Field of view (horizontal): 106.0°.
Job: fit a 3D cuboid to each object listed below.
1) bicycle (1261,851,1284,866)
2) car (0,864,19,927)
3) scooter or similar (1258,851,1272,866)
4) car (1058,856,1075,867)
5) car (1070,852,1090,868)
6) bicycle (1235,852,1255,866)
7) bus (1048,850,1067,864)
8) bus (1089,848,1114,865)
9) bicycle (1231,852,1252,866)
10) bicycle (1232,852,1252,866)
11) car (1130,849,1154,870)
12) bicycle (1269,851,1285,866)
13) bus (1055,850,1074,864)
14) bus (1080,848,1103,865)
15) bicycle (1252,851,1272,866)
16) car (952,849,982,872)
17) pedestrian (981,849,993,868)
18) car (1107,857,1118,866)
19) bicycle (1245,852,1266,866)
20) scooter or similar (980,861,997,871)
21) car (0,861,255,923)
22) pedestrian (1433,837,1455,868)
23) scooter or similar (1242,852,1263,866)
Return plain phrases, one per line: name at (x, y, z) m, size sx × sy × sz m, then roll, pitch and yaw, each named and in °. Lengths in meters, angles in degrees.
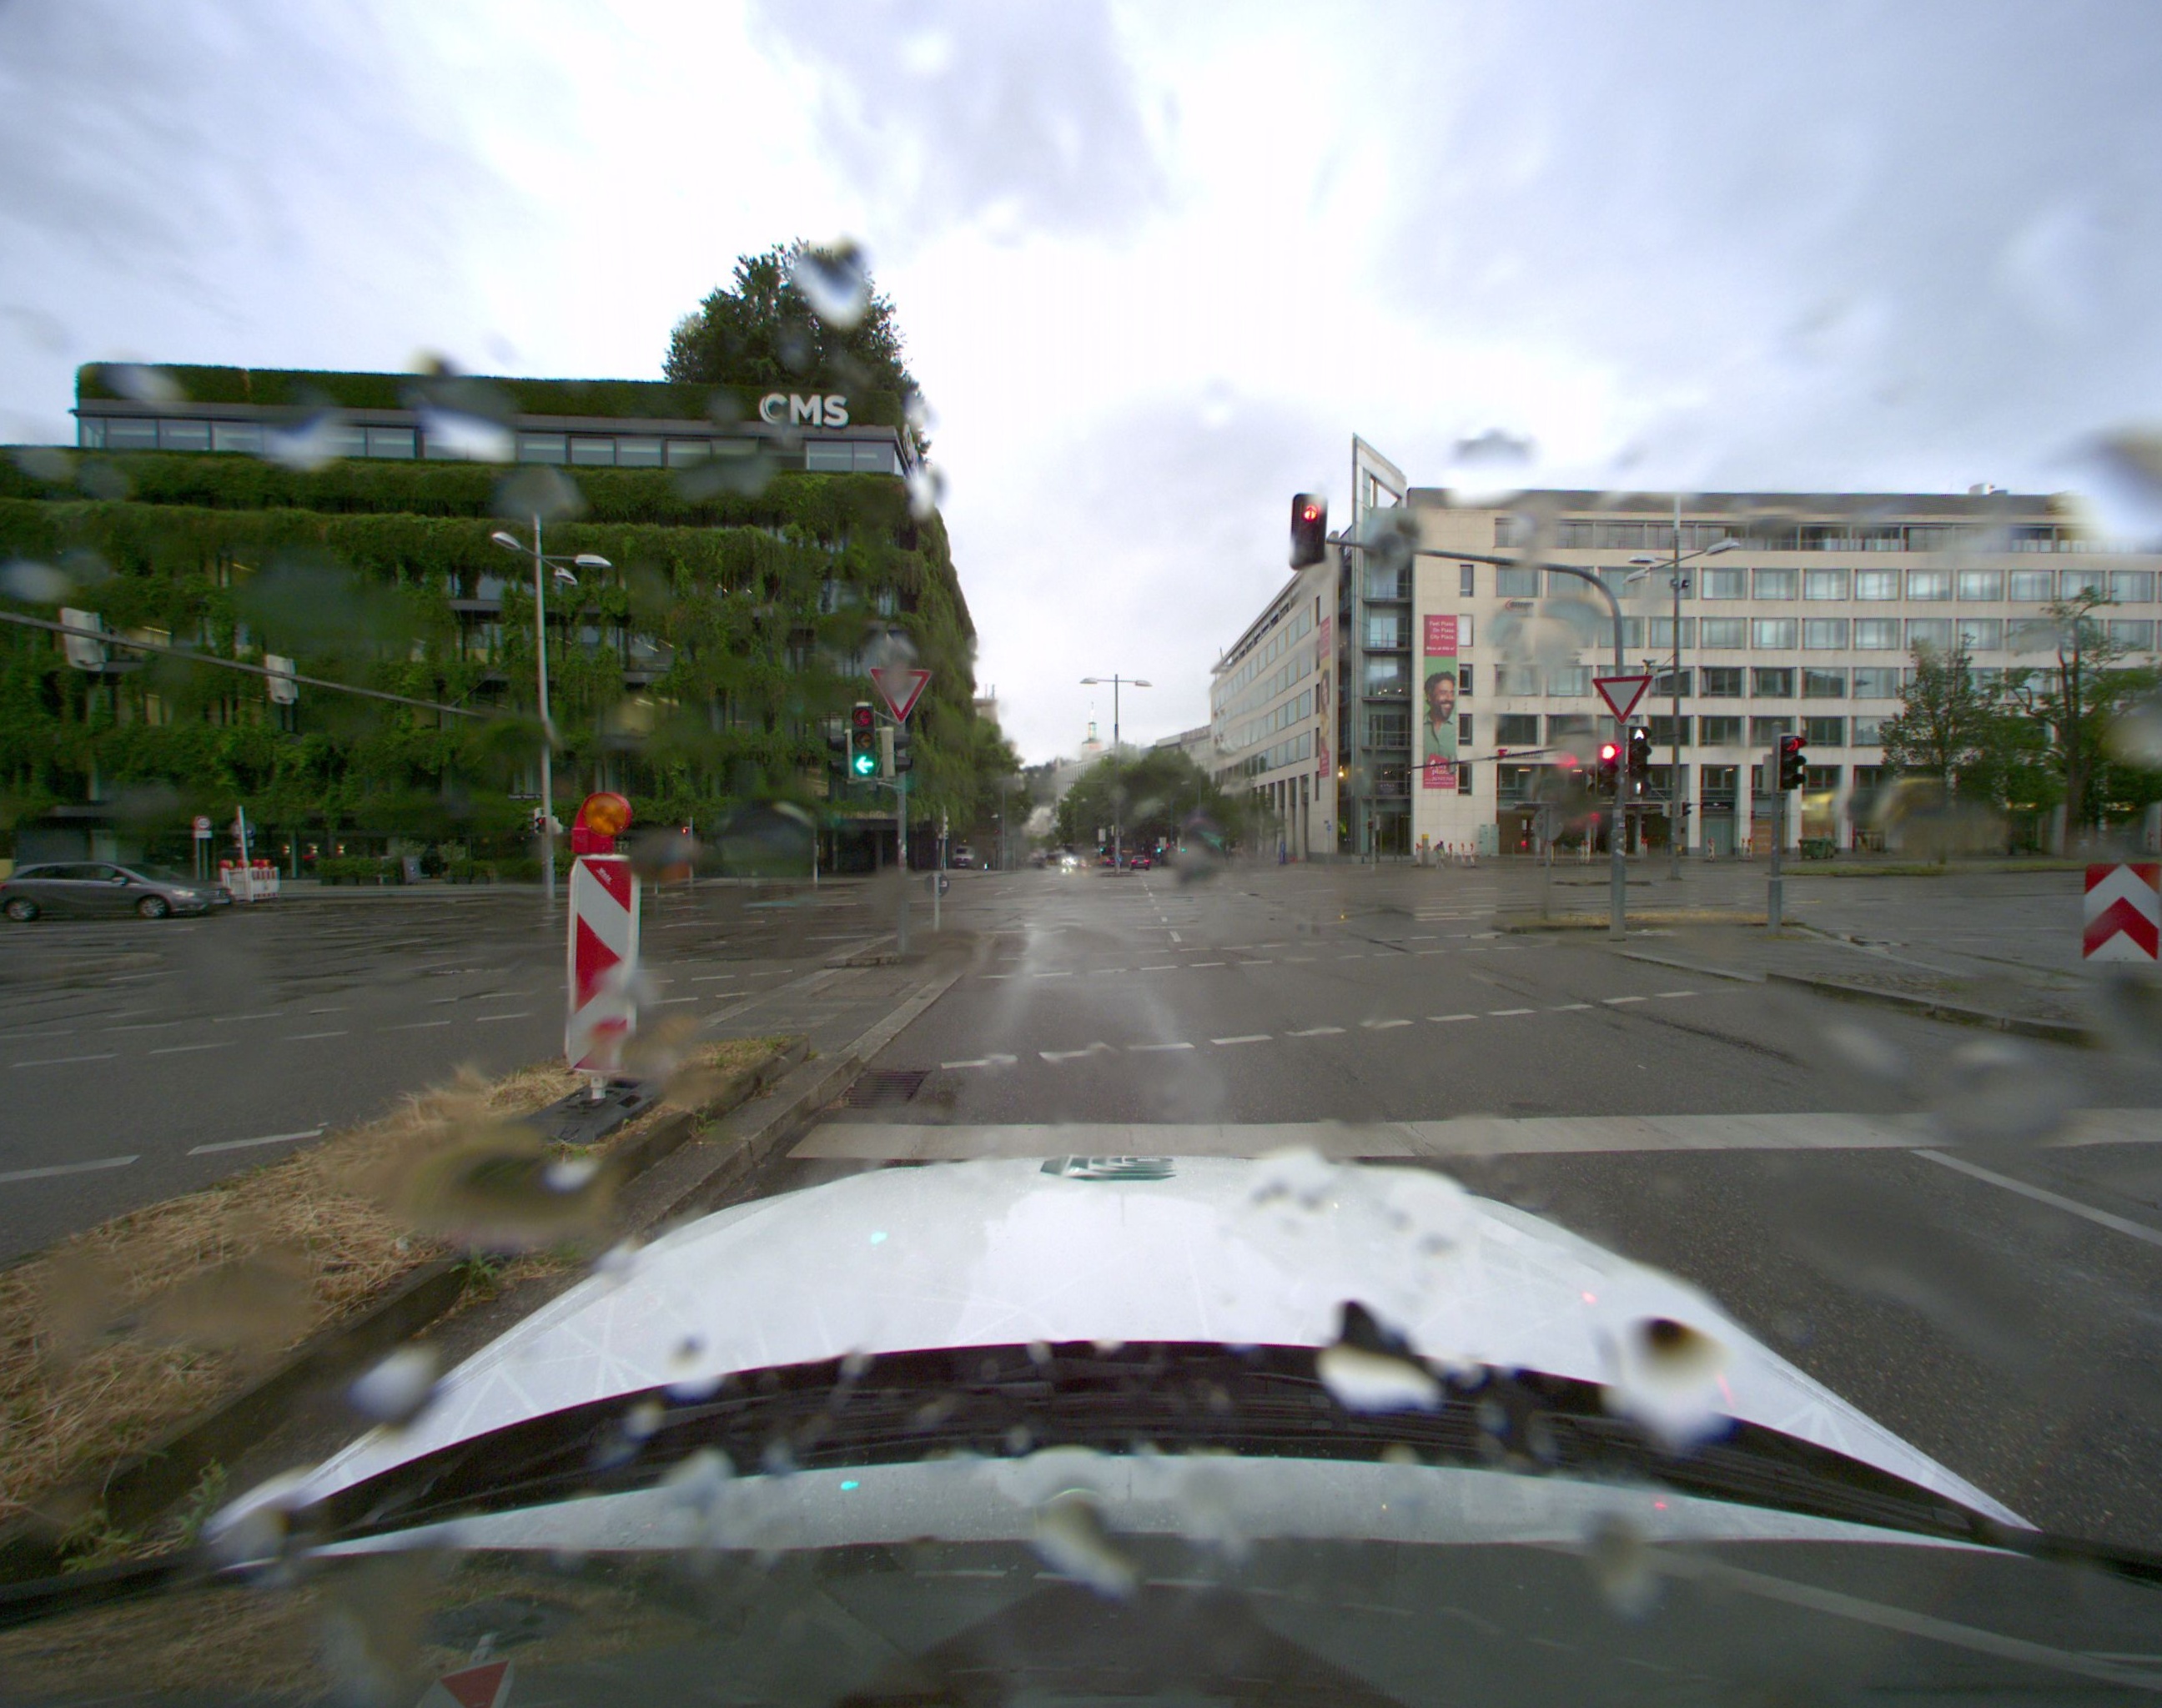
bicycle at (15.200, 0.371, 64.641) m, size 1.607 × 1.194 × 0.590 m, roll -1°, pitch -1°, yaw 27°
car at (-27.343, 1.004, 18.304) m, size 3.981 × 1.475 × 1.996 m, roll -1°, pitch 0°, yaw -6°
scooter or similar at (14.419, 0.371, 63.975) m, size 0.951 × 1.194 × 0.458 m, roll -1°, pitch -1°, yaw 42°
car at (-2.480, 1.323, 137.680) m, size 2.164 × 1.765 × 5.095 m, roll 0°, pitch -1°, yaw -9°
car at (-0.093, 0.649, 91.455) m, size 2.158 × 1.765 × 5.109 m, roll 0°, pitch -1°, yaw -1°
bicycle at (14.938, 0.450, 74.136) m, size 1.770 × 1.194 × 0.587 m, roll 0°, pitch -1°, yaw 3°
bus at (-5.238, 0.569, 180.713) m, size 2.631 × 2.995 × 7.415 m, roll -1°, pitch 0°, yaw -13°
bus at (3.681, 0.403, 146.085) m, size 2.631 × 2.995 × 7.415 m, roll -1°, pitch 0°, yaw -13°
bicycle at (14.296, 0.442, 72.599) m, size 1.770 × 1.194 × 0.587 m, roll 0°, pitch -1°, yaw 3°
bicycle at (14.471, 0.446, 73.229) m, size 1.770 × 1.194 × 0.587 m, roll 0°, pitch -1°, yaw 3°
car at (6.033, 0.551, 79.810) m, size 1.533 × 2.014 × 4.685 m, roll -1°, pitch -1°, yaw 14°
bicycle at (16.051, 0.382, 66.731) m, size 0.579 × 1.194 × 1.794 m, roll -1°, pitch -1°, yaw 40°
bus at (-3.542, 0.584, 173.570) m, size 2.631 × 2.995 × 7.294 m, roll -1°, pitch 0°, yaw -13°
bus at (1.988, 0.433, 153.277) m, size 2.631 × 2.995 × 7.415 m, roll -1°, pitch 0°, yaw -13°
bicycle at (14.728, 0.387, 66.205) m, size 0.588 × 1.194 × 1.768 m, roll 0°, pitch -1°, yaw -26°
car at (-9.560, 0.545, 68.730) m, size 1.863 × 1.839 × 4.001 m, roll 0°, pitch -1°, yaw 2°
pedestrian at (-8.396, 0.426, 72.910) m, size 0.930 × 1.644 × 0.774 m, roll 0°, pitch -1°, yaw 1°
car at (4.923, 1.164, 127.709) m, size 1.775 × 1.508 × 4.001 m, roll 0°, pitch -1°, yaw 2°
bicycle at (15.287, 0.425, 71.405) m, size 1.770 × 1.194 × 0.587 m, roll 0°, pitch -1°, yaw 3°
scooter or similar at (-9.428, 1.183, 82.944) m, size 0.616 × 1.004 × 1.671 m, roll -1°, pitch 0°, yaw 40°
car at (-26.126, 0.985, 22.061) m, size 4.901 × 1.488 × 1.924 m, roll -1°, pitch 0°, yaw -15°
pedestrian at (21.977, -0.086, 49.357) m, size 0.958 × 1.816 × 0.837 m, roll 0°, pitch -1°, yaw 1°
scooter or similar at (14.907, 0.423, 70.791) m, size 1.770 × 1.194 × 0.587 m, roll 0°, pitch -1°, yaw 3°
